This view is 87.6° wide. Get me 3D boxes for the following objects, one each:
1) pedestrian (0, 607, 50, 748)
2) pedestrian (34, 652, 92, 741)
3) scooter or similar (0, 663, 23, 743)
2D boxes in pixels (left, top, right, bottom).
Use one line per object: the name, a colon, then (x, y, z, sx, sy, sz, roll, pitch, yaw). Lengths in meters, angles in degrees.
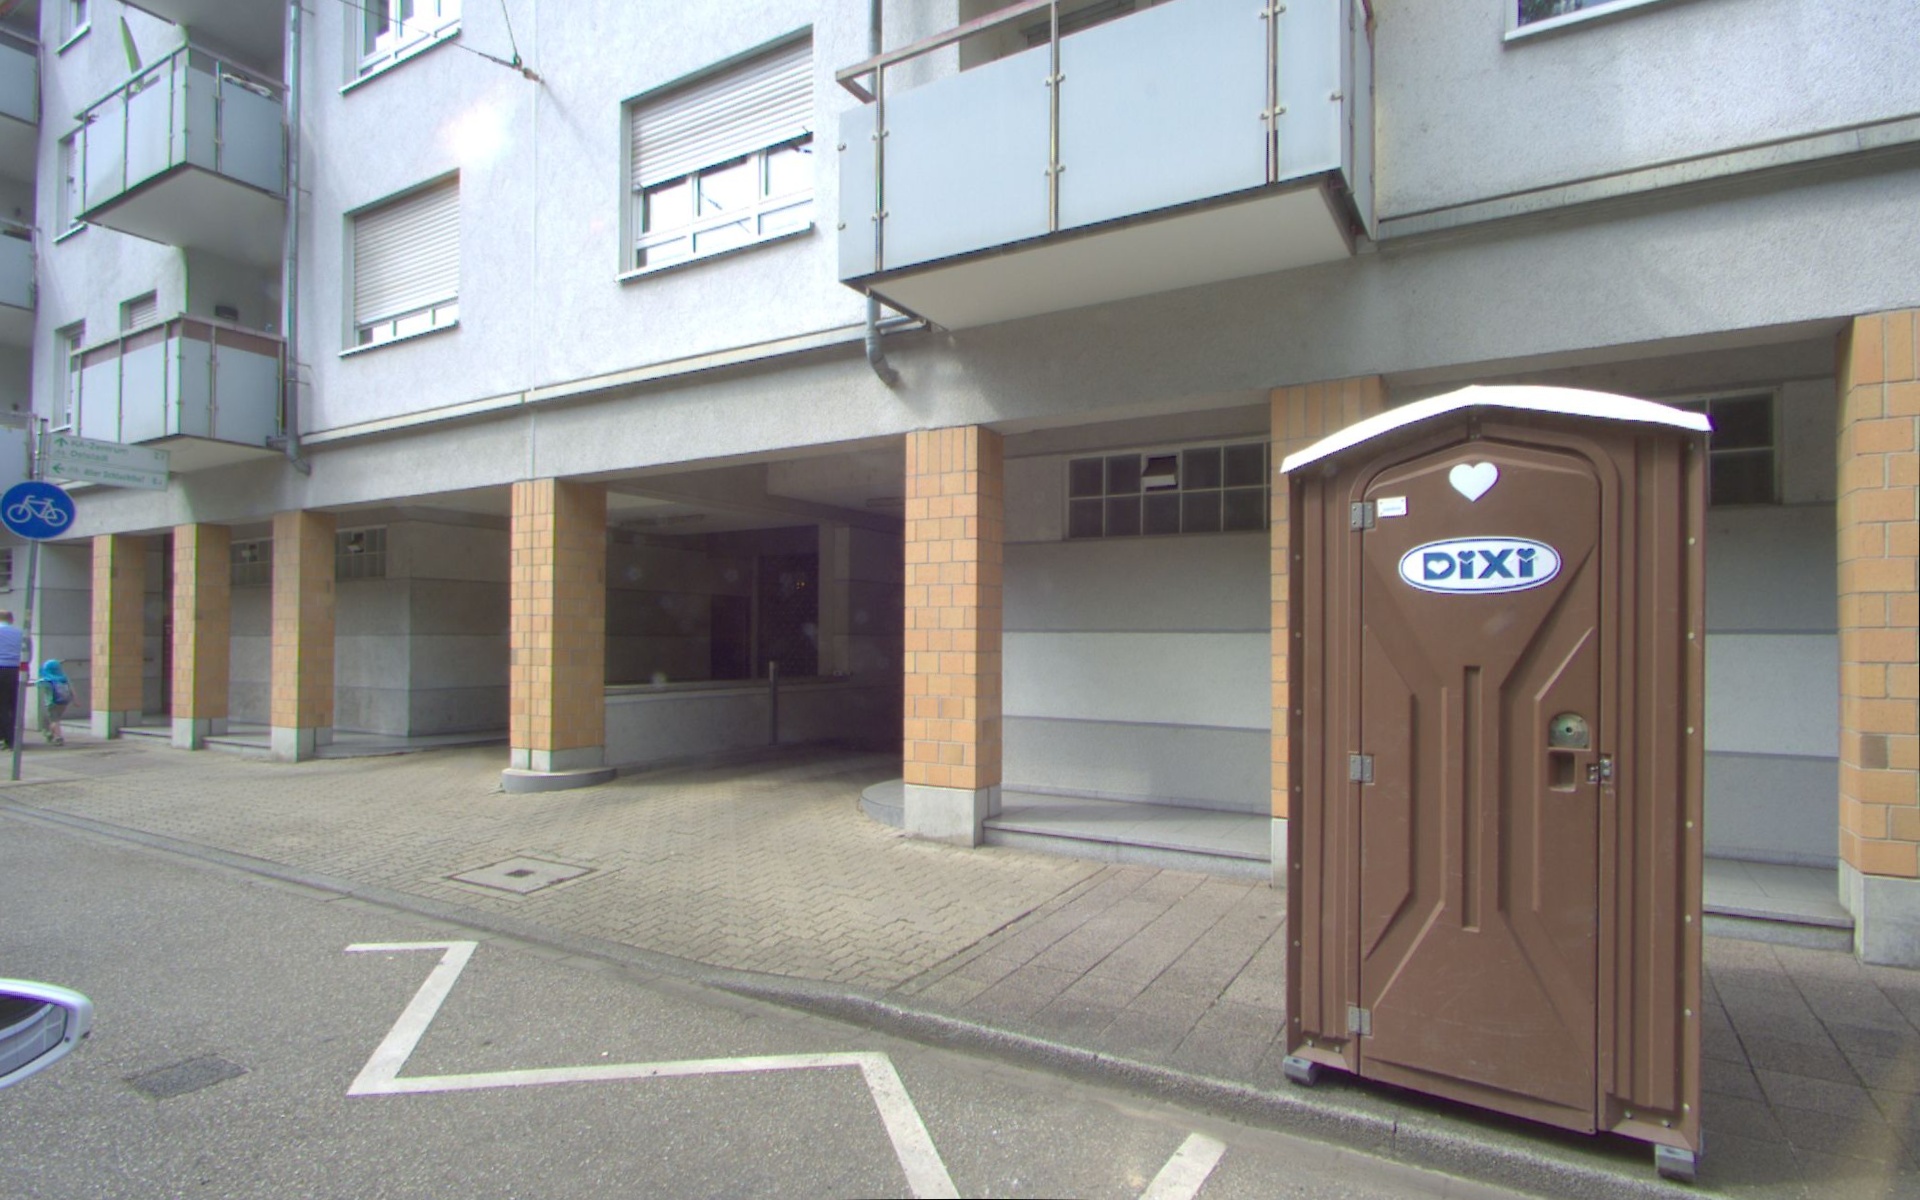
pedestrian: (-12.292, 0.973, 12.894, 0.865, 1.762, 0.619, 0, 1, 32)
pedestrian: (-12.096, 1.290, 13.505, 0.487, 1.150, 0.455, 0, 0, 32)
scooter or similar: (-12.975, 1.366, 13.257, 0.893, 1.016, 0.591, -1, 2, 32)
